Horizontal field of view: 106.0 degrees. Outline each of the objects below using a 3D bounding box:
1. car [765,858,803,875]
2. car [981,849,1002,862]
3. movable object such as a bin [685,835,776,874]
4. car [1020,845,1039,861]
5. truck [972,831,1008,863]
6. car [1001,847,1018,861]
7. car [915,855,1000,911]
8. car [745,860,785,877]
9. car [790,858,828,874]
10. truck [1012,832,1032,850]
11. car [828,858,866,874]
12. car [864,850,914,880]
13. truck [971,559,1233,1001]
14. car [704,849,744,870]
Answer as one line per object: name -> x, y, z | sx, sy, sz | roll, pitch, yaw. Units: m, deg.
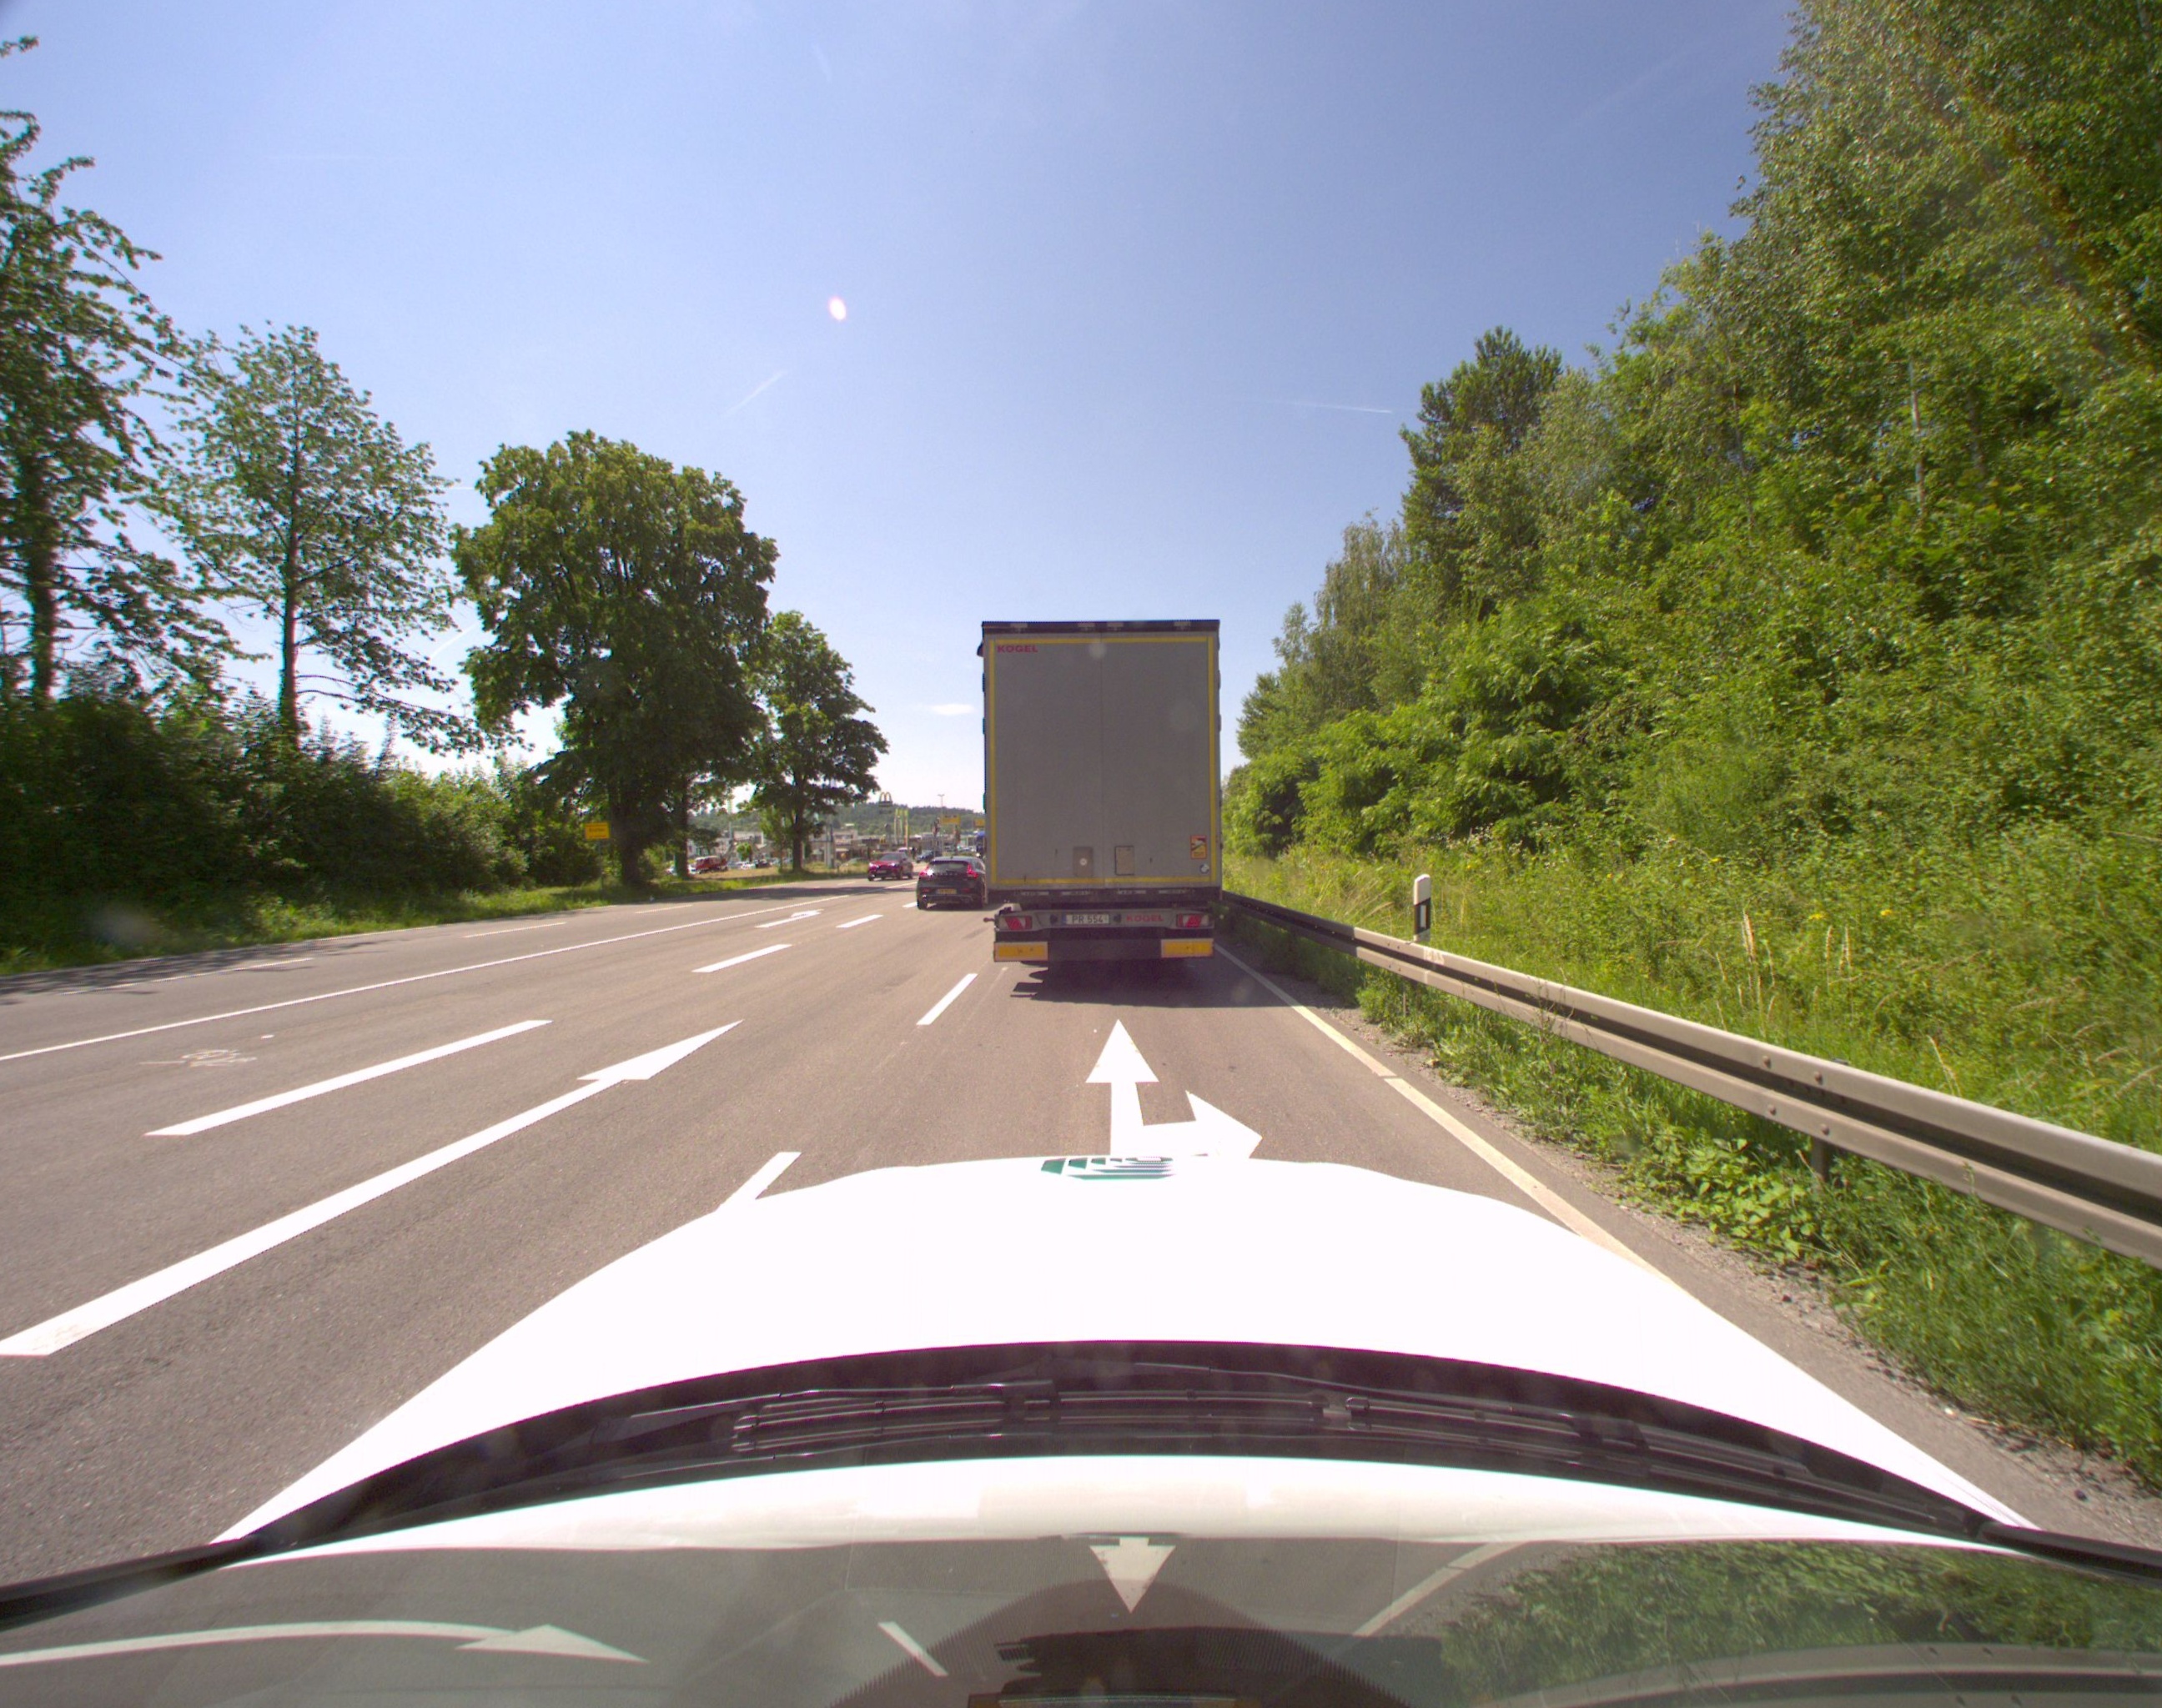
car -> -30.460, 1.291, 83.444 | 3.948, 1.618, 1.852 | -1, 0, 38
car -> -9.729, 0.189, 88.785 | 1.761, 1.386, 3.999 | 0, 0, 0
movable object such as a bin -> -31.664, 0.028, 73.810 | 3.013, 3.298, 6.835 | -1, 1, 41
car -> -6.340, -0.123, 100.528 | 1.986, 2.013, 4.001 | -1, 0, 1
truck -> -12.772, -0.936, 116.118 | 2.958, 4.176, 16.576 | -1, 0, 1
car -> -8.840, -0.015, 100.493 | 1.714, 1.753, 3.857 | -1, 0, 1
car -> -3.396, 0.746, 23.201 | 1.680, 1.398, 4.403 | -1, 0, 0
car -> -31.680, 1.404, 81.543 | 3.948, 1.651, 2.013 | -1, 0, 38
car -> -28.589, 1.237, 85.522 | 3.948, 1.618, 1.852 | -1, 0, 38
truck -> -11.489, -2.567, 159.615 | 2.837, 3.351, 11.480 | -1, 0, 0
car -> -24.988, 1.251, 86.891 | 3.948, 1.618, 1.852 | -1, 0, 38
car -> -10.538, 0.571, 44.973 | 1.897, 1.508, 3.763 | -1, 0, -1
truck -> 0.488, -0.725, 16.887 | 2.745, 4.639, 16.661 | 0, 0, 2
car -> -34.556, 0.522, 78.806 | 3.949, 2.013, 2.012 | -1, 0, 42
